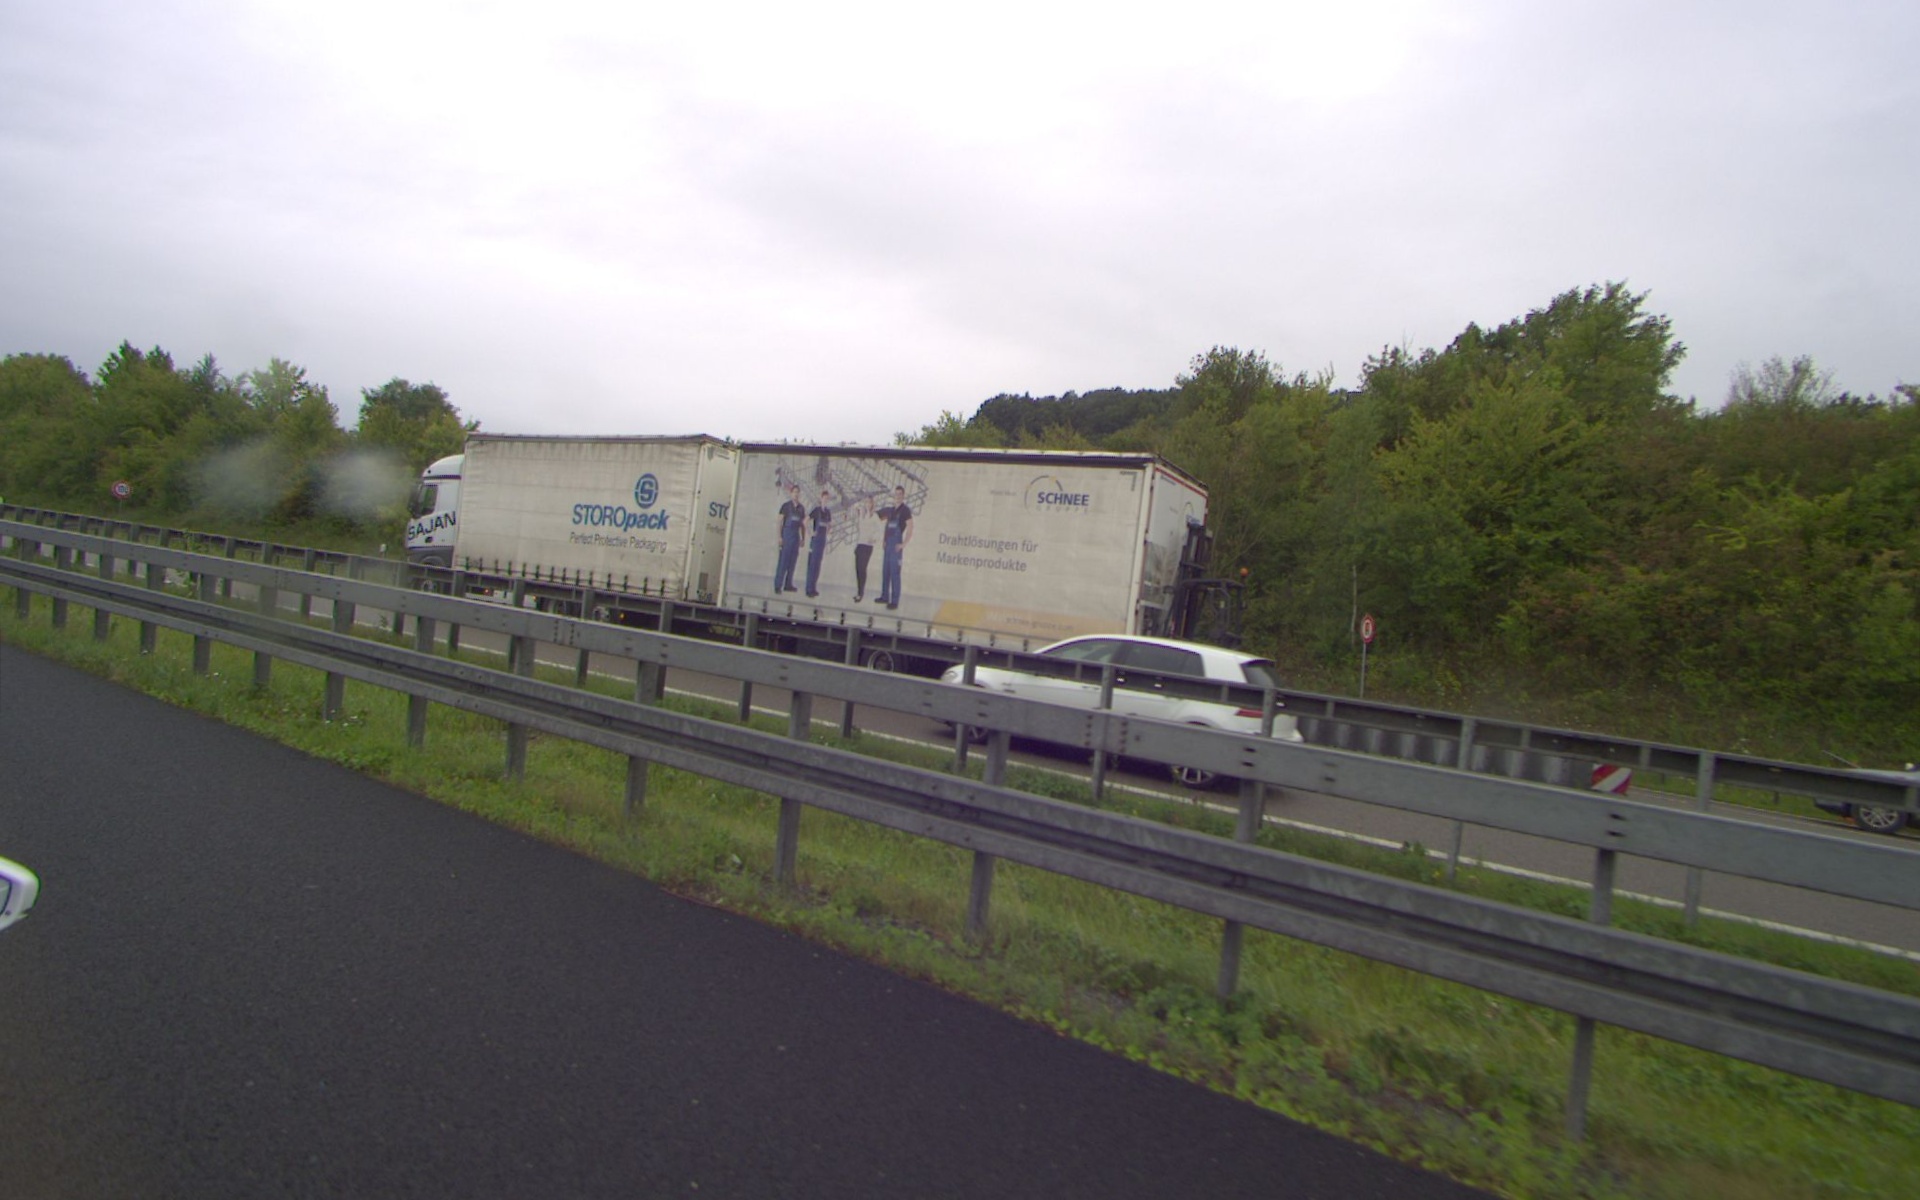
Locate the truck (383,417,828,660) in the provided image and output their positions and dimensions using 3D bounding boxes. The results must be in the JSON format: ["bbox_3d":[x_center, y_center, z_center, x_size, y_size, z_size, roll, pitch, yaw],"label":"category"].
[{"bbox_3d":[-8.261,-1.536,22.663,10.245,4.341,3.442,7,0,32],"label":"truck"}]

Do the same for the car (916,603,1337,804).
[{"bbox_3d":[1.789,1.034,11.153,4.088,1.465,1.863,7,-1,31],"label":"car"}]

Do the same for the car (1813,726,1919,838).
[{"bbox_3d":[17.164,3.266,16.630,4.441,1.633,1.856,6,-1,45],"label":"car"}]

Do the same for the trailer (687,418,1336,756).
[{"bbox_3d":[0.469,-0.518,17.175,10.281,4.341,3.442,7,0,32],"label":"trailer"}]
